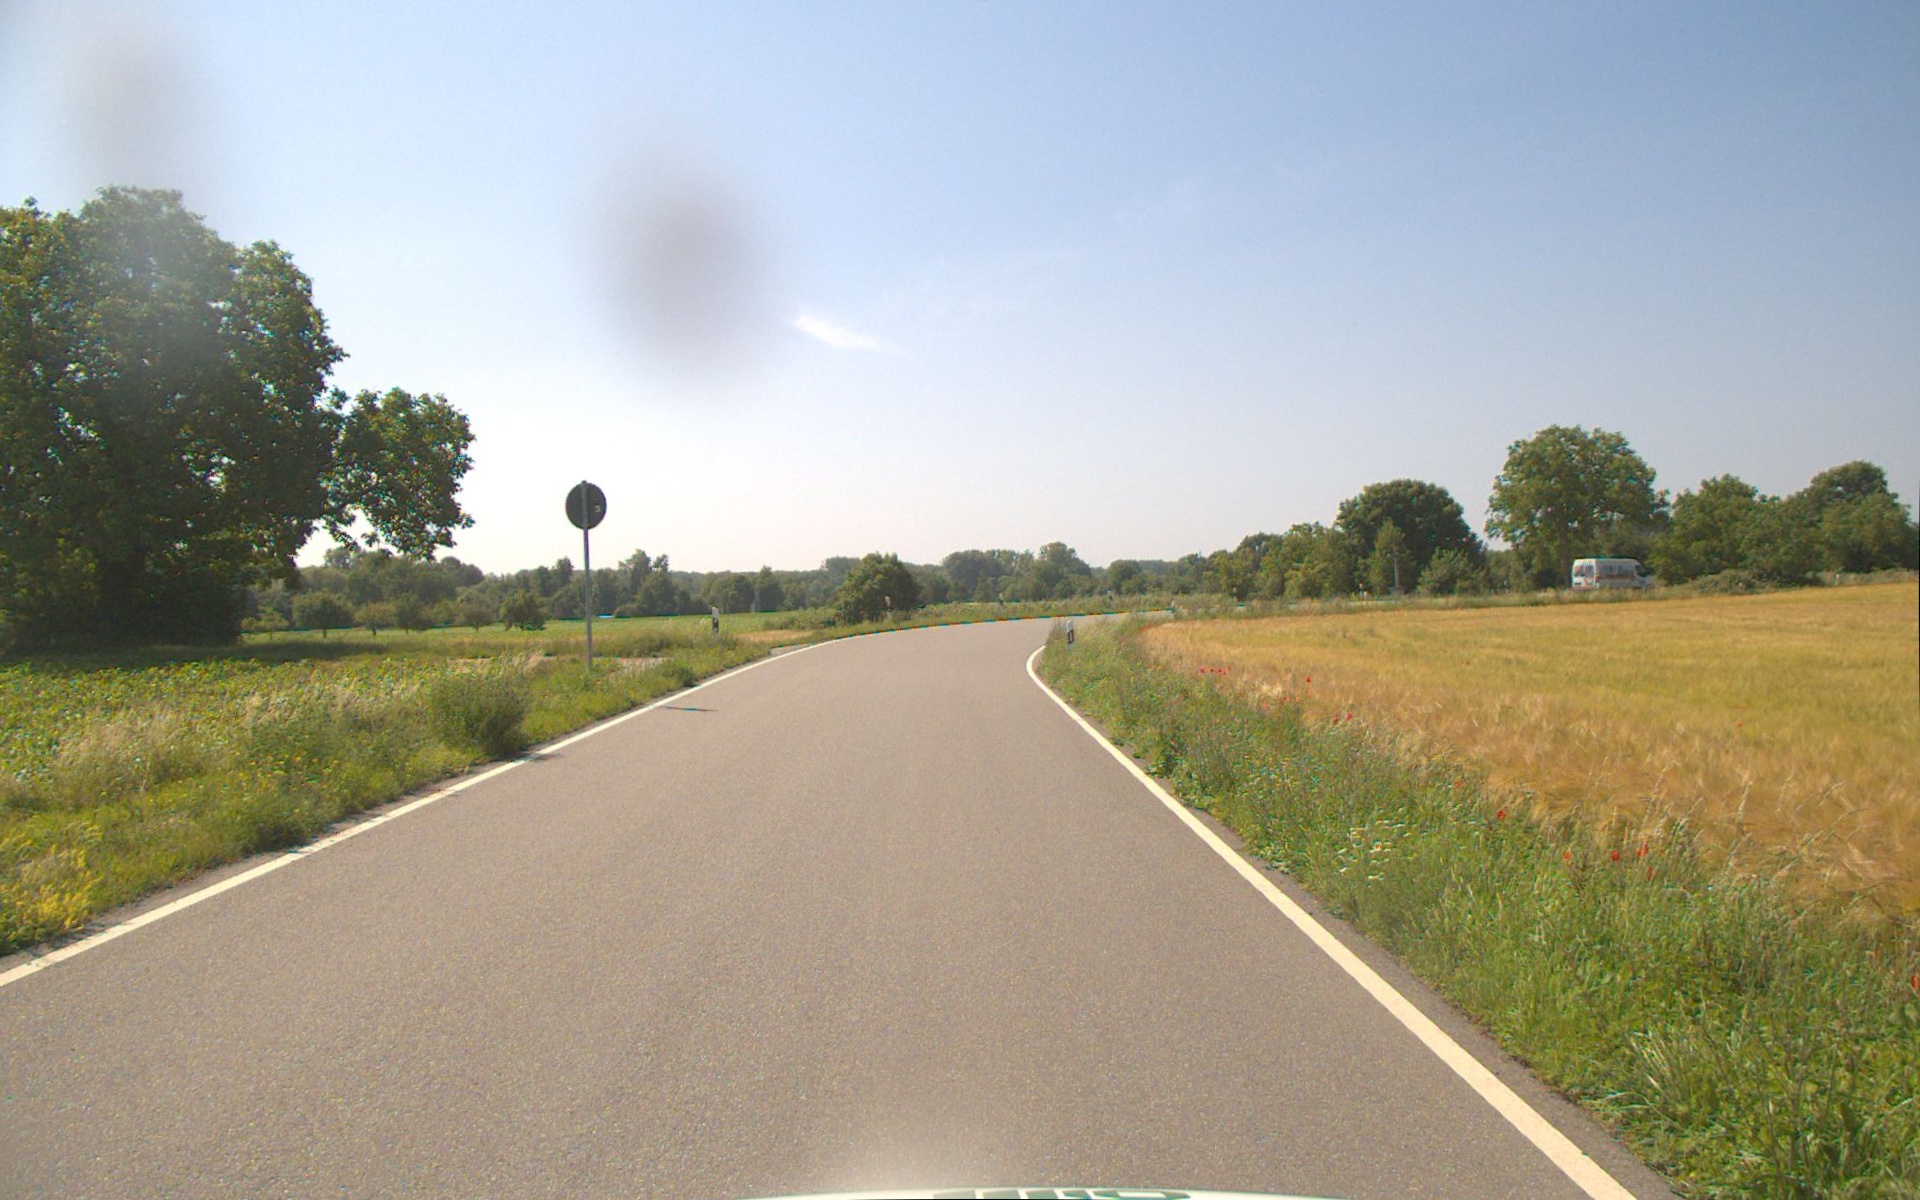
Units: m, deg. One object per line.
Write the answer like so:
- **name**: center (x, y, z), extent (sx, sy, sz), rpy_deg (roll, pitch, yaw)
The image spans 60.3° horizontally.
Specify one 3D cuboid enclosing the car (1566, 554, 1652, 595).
- **car**: center (41.870, -1.658, 106.687), extent (5.610, 2.408, 2.089), rpy_deg (-3, 0, -31)
